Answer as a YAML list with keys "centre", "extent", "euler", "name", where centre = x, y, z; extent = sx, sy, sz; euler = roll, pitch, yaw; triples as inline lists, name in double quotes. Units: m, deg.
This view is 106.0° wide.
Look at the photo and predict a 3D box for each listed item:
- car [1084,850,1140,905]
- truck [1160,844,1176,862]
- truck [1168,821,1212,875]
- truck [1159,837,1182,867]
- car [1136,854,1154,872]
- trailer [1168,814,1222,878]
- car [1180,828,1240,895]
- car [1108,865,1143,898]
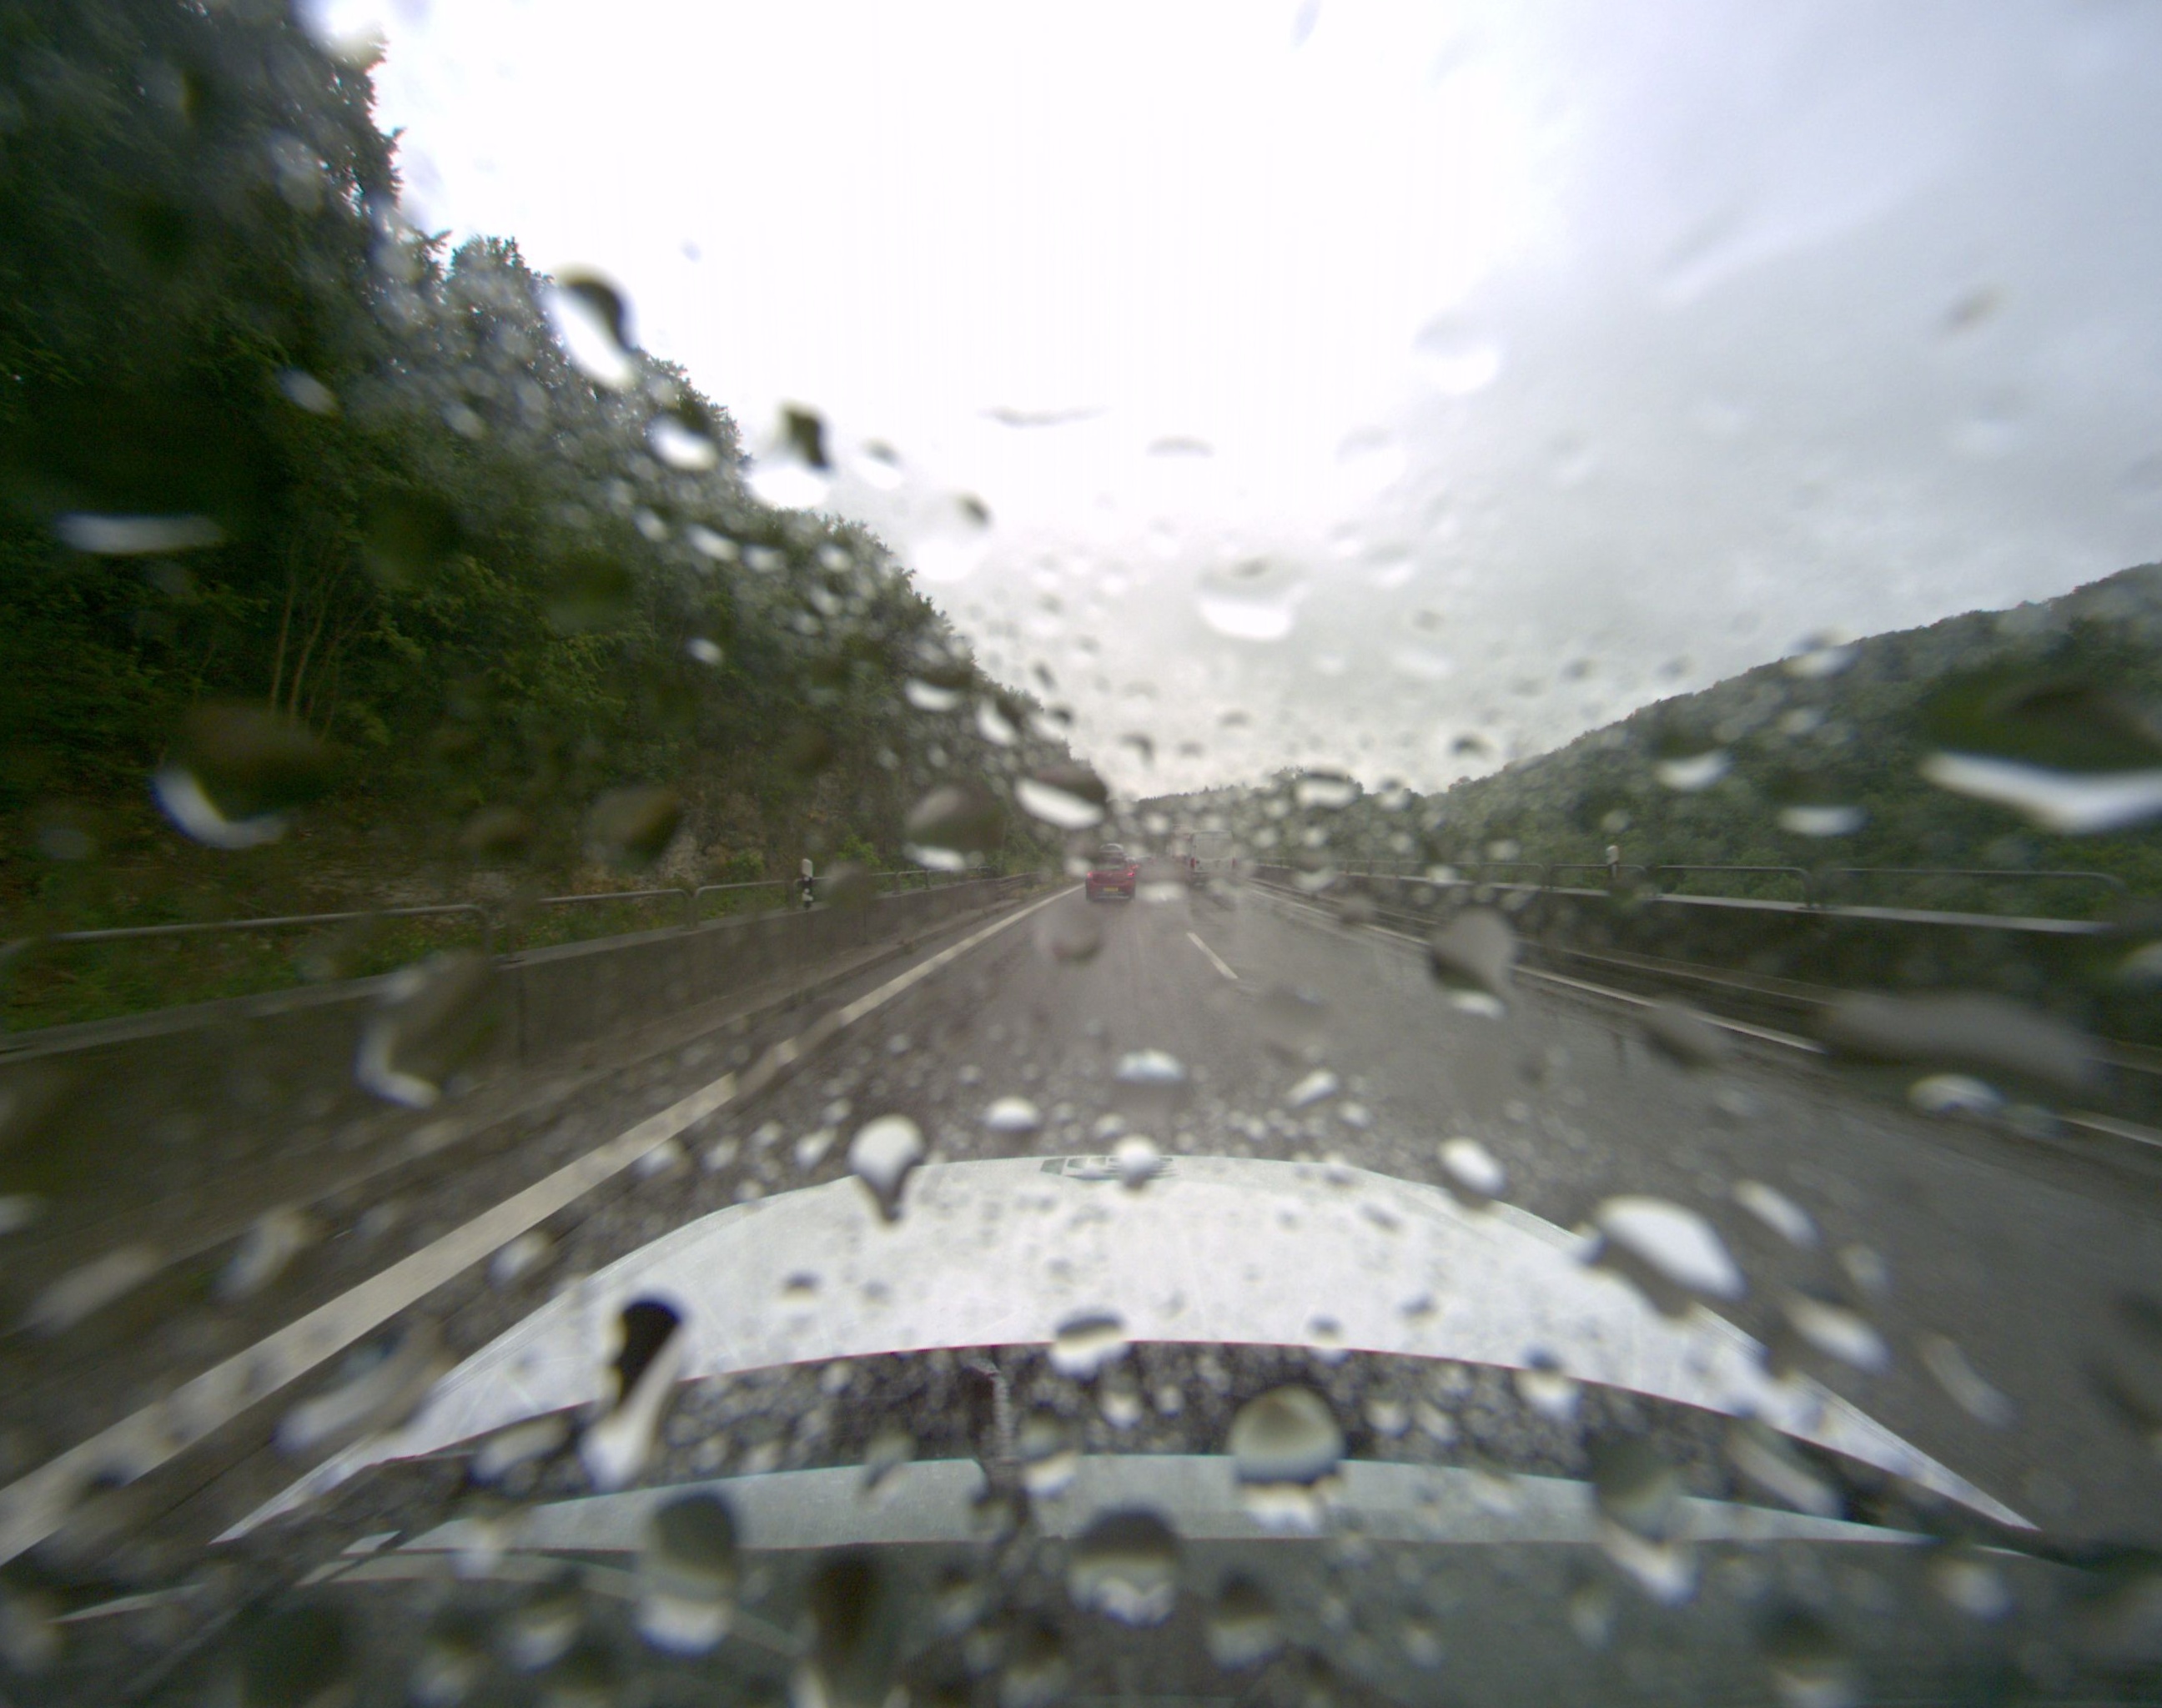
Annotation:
- centre: [1.161, 0.810, 29.173]
  extent: [1.751, 1.684, 4.004]
  euler: [-5, -1, 3]
  name: "car"
- centre: [16.792, -0.146, 157.639]
  extent: [3.047, 3.312, 8.081]
  euler: [-1, 0, 5]
  name: "truck"
- centre: [8.677, -0.457, 65.268]
  extent: [3.203, 3.978, 5.447]
  euler: [-2, -1, 6]
  name: "truck"
- centre: [13.228, -0.267, 121.039]
  extent: [2.675, 4.094, 9.324]
  euler: [-5, -1, 4]
  name: "truck"
- centre: [6.953, 0.956, 88.534]
  extent: [1.866, 1.706, 3.893]
  euler: [-5, -1, 4]
  name: "car"
- centre: [8.006, -0.470, 58.942]
  extent: [3.202, 3.999, 13.545]
  euler: [-2, -1, 6]
  name: "trailer"
- centre: [5.921, 0.339, 38.228]
  extent: [2.195, 2.794, 7.392]
  euler: [-1, -1, 5]
  name: "car"
- centre: [2.631, 1.598, 47.917]
  extent: [1.825, 1.715, 3.648]
  euler: [-5, -1, 3]
  name: "car"
